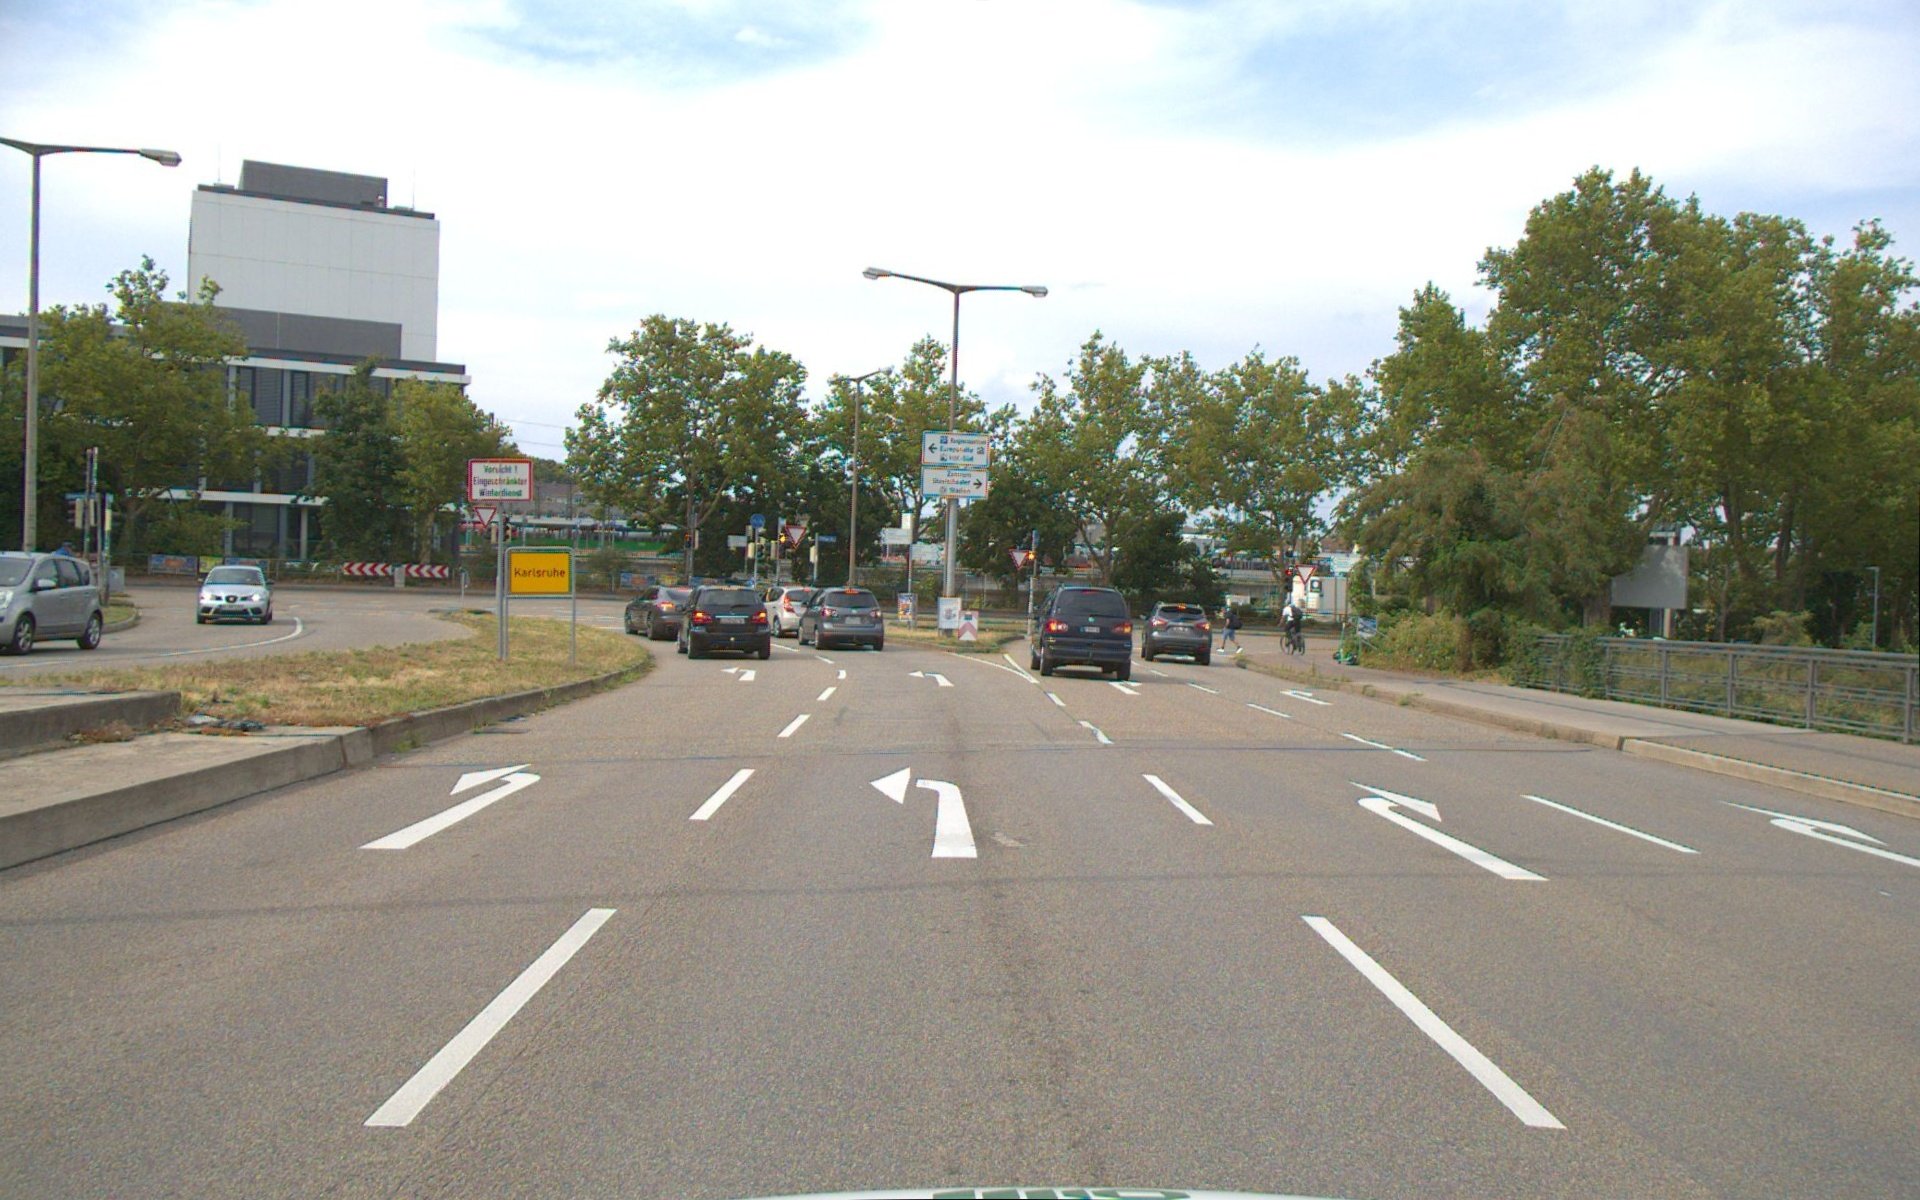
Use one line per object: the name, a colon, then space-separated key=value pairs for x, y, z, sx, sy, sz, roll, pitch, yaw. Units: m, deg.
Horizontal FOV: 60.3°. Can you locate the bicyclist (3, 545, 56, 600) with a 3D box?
bicyclist: x=-25.220 y=-0.733 z=44.835 sx=0.637 sy=1.461 sz=1.109 roll=3 pitch=2 yaw=44

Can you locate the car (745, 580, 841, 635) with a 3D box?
car: x=-5.022 y=0.203 z=49.191 sx=1.717 sy=1.508 sz=4.053 roll=1 pitch=0 yaw=-23

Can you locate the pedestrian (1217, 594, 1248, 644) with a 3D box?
pedestrian: x=9.867 y=0.666 z=59.863 sx=1.025 sy=1.740 sz=0.854 roll=3 pitch=1 yaw=10

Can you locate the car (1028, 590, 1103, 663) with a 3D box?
car: x=2.618 y=0.625 z=40.826 sx=1.655 sy=1.613 sz=4.158 roll=4 pitch=0 yaw=4

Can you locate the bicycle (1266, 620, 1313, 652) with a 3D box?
bicycle: x=11.133 y=1.205 z=55.941 sx=0.794 sy=0.969 sz=2.230 roll=1 pitch=1 yaw=-11

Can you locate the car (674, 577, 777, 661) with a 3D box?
car: x=-5.242 y=0.375 z=36.577 sx=1.728 sy=1.602 sz=4.021 roll=2 pitch=1 yaw=-15

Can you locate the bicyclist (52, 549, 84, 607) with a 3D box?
bicyclist: x=-25.084 y=-0.622 z=46.510 sx=0.771 sy=1.608 sz=0.648 roll=1 pitch=1 yaw=-29

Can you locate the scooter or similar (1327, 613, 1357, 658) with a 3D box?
scooter or similar: x=10.701 y=0.985 z=46.376 sx=0.389 sy=1.204 sz=1.278 roll=1 pitch=0 yaw=-8

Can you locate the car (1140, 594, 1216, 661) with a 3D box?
car: x=6.016 y=0.745 z=46.052 sx=1.714 sy=1.671 sz=4.139 roll=4 pitch=0 yaw=3

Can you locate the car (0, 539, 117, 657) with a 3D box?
car: x=-14.707 y=-0.042 z=25.522 sx=1.709 sy=1.687 sz=4.073 roll=0 pitch=0 yaw=-7

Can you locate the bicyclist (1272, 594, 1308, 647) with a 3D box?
bicyclist: x=11.155 y=0.686 z=55.872 sx=0.796 sy=1.726 sz=1.113 roll=1 pitch=0 yaw=-11

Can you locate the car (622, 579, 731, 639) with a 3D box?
car: x=-7.771 y=0.211 z=45.025 sx=1.795 sy=1.438 sz=4.741 roll=2 pitch=1 yaw=-24

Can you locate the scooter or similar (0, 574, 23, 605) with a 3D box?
scooter or similar: x=-27.556 y=-0.310 z=46.080 sx=0.794 sy=0.864 sz=2.372 roll=3 pitch=1 yaw=41

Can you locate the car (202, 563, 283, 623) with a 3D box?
car: x=-18.145 y=-0.170 z=41.958 sx=1.592 sy=1.435 sz=3.839 roll=0 pitch=0 yaw=-19

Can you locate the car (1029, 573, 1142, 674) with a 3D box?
car: x=2.420 y=0.433 z=32.812 sx=1.715 sy=1.754 sz=4.136 roll=4 pitch=0 yaw=-2

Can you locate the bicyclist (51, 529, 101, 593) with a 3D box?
bicyclist: x=-23.392 y=-1.029 z=43.783 sx=0.795 sy=1.685 sz=0.881 roll=2 pitch=1 yaw=34

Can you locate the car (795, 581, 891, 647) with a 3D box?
car: x=-3.073 y=0.324 z=42.712 sx=1.712 sy=1.573 sz=4.065 roll=1 pitch=0 yaw=-15
